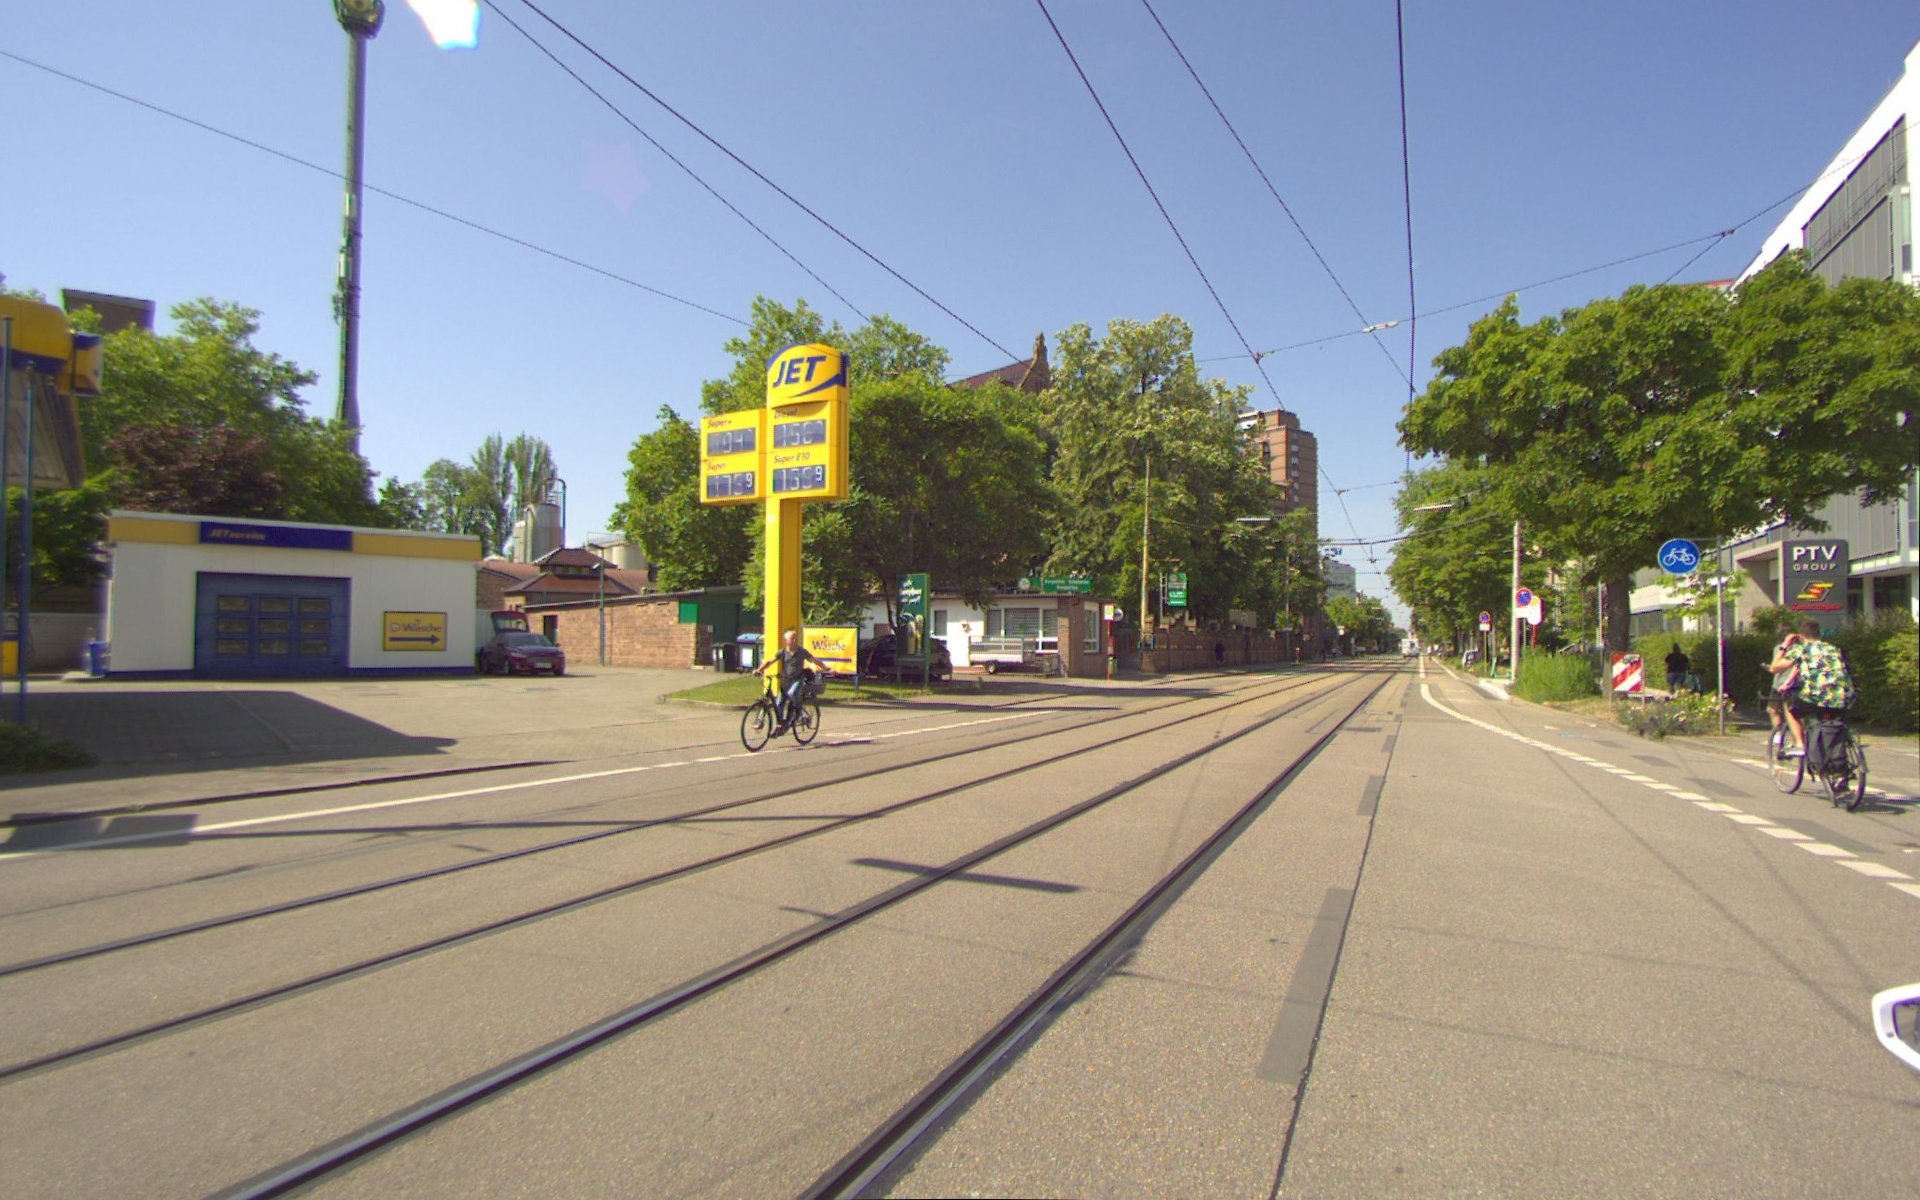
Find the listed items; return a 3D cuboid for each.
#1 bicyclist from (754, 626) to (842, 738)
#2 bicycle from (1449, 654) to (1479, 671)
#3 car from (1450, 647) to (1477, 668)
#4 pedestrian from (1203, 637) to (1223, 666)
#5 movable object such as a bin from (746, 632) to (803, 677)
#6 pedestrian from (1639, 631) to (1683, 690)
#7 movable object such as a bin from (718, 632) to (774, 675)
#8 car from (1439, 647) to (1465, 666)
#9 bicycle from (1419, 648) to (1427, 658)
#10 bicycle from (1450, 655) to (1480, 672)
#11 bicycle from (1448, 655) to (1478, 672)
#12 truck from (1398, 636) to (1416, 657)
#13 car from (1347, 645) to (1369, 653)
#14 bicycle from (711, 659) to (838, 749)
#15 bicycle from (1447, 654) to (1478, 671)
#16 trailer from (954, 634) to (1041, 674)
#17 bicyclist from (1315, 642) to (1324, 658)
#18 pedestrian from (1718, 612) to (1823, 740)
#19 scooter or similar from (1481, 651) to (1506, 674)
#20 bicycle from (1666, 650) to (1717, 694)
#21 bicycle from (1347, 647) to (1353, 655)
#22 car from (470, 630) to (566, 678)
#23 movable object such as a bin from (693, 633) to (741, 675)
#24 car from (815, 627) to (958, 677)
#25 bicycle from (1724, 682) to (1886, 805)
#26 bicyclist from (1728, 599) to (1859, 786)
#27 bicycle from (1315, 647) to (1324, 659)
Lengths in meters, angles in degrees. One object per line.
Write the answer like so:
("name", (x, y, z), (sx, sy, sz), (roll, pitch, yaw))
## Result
("bicyclist", (-2.433, 1.217, 15.121), (0.890, 1.616, 0.962), (-2, -3, 32))
("bicycle", (34.162, 4.237, 68.130), (1.764, 1.100, 0.726), (-1, -3, 24))
("car", (36.729, 4.193, 73.336), (1.604, 1.491, 3.628), (-1, -3, 25))
("pedestrian", (16.148, 3.272, 64.109), (0.961, 1.839, 1.184), (-2, -3, 25))
("movable object such as a bin", (-6.400, 1.867, 34.716), (1.396, 1.522, 1.378), (-1, -2, 28))
("pedestrian", (19.139, 1.652, 27.459), (0.675, 1.583, 0.989), (-2, -3, 20))
("movable object such as a bin", (-7.636, 1.902, 35.879), (1.401, 1.522, 1.373), (-2, -3, 40))
("car", (41.501, 4.752, 84.737), (1.603, 1.502, 4.273), (0, -2, 22))
("bicycle", (53.957, 6.180, 117.091), (0.842, 1.124, 2.139), (1, -2, 24))
("bicycle", (33.836, 4.267, 67.304), (1.697, 1.100, 0.639), (-1, -3, 24))
("bicycle", (34.345, 4.335, 68.624), (1.820, 1.146, 0.680), (-1, -3, 24))
("truck", (67.310, 7.023, 151.278), (2.364, 3.149, 6.035), (-1, -3, 24))
("car", (86.547, 10.670, 218.239), (3.925, 1.772, 1.999), (1, -3, -6))
("bicycle", (-2.719, 1.503, 14.972), (0.601, 1.212, 2.119), (-3, -4, 30))
("bicycle", (34.898, 4.328, 69.829), (1.874, 1.185, 0.818), (-1, -3, 24))
("trailer", (1.568, 2.249, 42.180), (3.223, 1.624, 1.722), (-1, -3, 26))
("bicyclist", (33.720, 4.679, 94.281), (0.729, 1.551, 0.947), (-1, -2, 25))
("pedestrian", (12.176, 1.117, 15.136), (0.874, 1.841, 1.074), (0, -2, 18))
("scooter or similar", (27.362, 3.214, 51.506), (1.109, 1.181, 0.675), (-1, -3, 27))
("bicycle", (19.567, 1.914, 26.899), (0.626, 1.132, 2.066), (0, -3, 23))
("bicycle", (55.677, 7.238, 143.342), (0.652, 1.169, 2.013), (-1, -2, 24))
("car", (-15.156, 1.816, 34.345), (1.877, 1.479, 4.505), (-1, -1, -39))
("movable object such as a bin", (-9.000, 2.002, 37.170), (1.318, 1.522, 1.316), (1, -4, -37))
("car", (-2.556, 1.825, 35.074), (4.592, 1.662, 2.010), (2, -3, -22))
("bicycle", (8.254, 1.349, 9.921), (0.599, 0.996, 2.163), (0, -3, 23))
("bicyclist", (8.257, 0.888, 9.996), (0.704, 1.746, 0.988), (0, -2, 22))
("bicycle", (33.772, 4.979, 94.414), (0.582, 1.120, 2.053), (-1, -2, 24))
